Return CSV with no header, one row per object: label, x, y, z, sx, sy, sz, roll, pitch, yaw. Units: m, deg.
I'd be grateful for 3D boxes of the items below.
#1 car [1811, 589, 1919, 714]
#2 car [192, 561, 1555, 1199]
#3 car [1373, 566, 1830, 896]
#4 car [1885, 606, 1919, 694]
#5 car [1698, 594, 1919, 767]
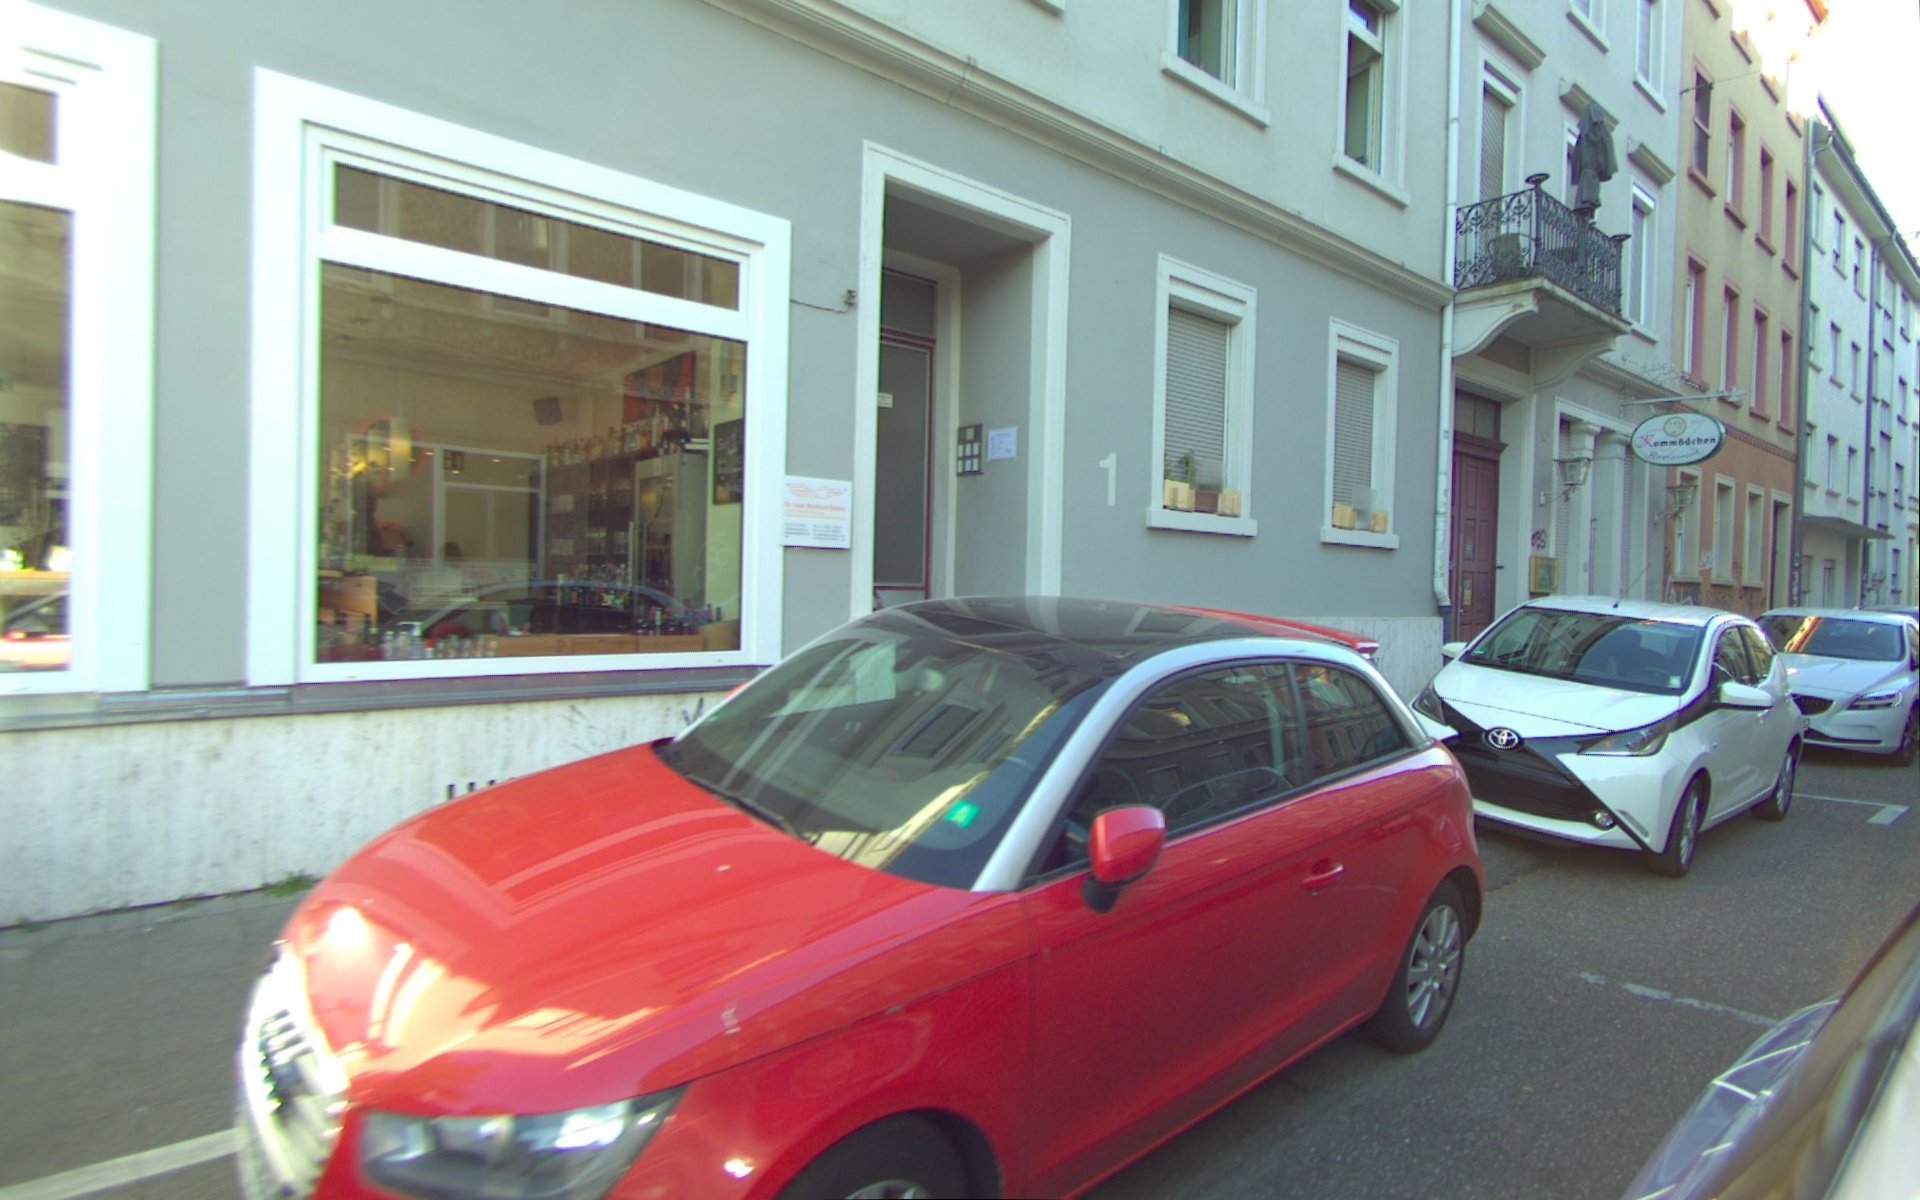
car,13.920,0.683,14.612,4.113,1.617,1.683,0,0,-38
car,0.196,0.727,3.047,3.886,1.522,1.648,1,0,-42
car,4.442,0.646,6.794,3.723,1.607,1.639,1,-1,-42
car,17.466,0.816,17.420,4.416,1.412,1.770,0,0,-41
car,9.515,0.719,10.882,4.116,1.529,1.682,0,0,-41
